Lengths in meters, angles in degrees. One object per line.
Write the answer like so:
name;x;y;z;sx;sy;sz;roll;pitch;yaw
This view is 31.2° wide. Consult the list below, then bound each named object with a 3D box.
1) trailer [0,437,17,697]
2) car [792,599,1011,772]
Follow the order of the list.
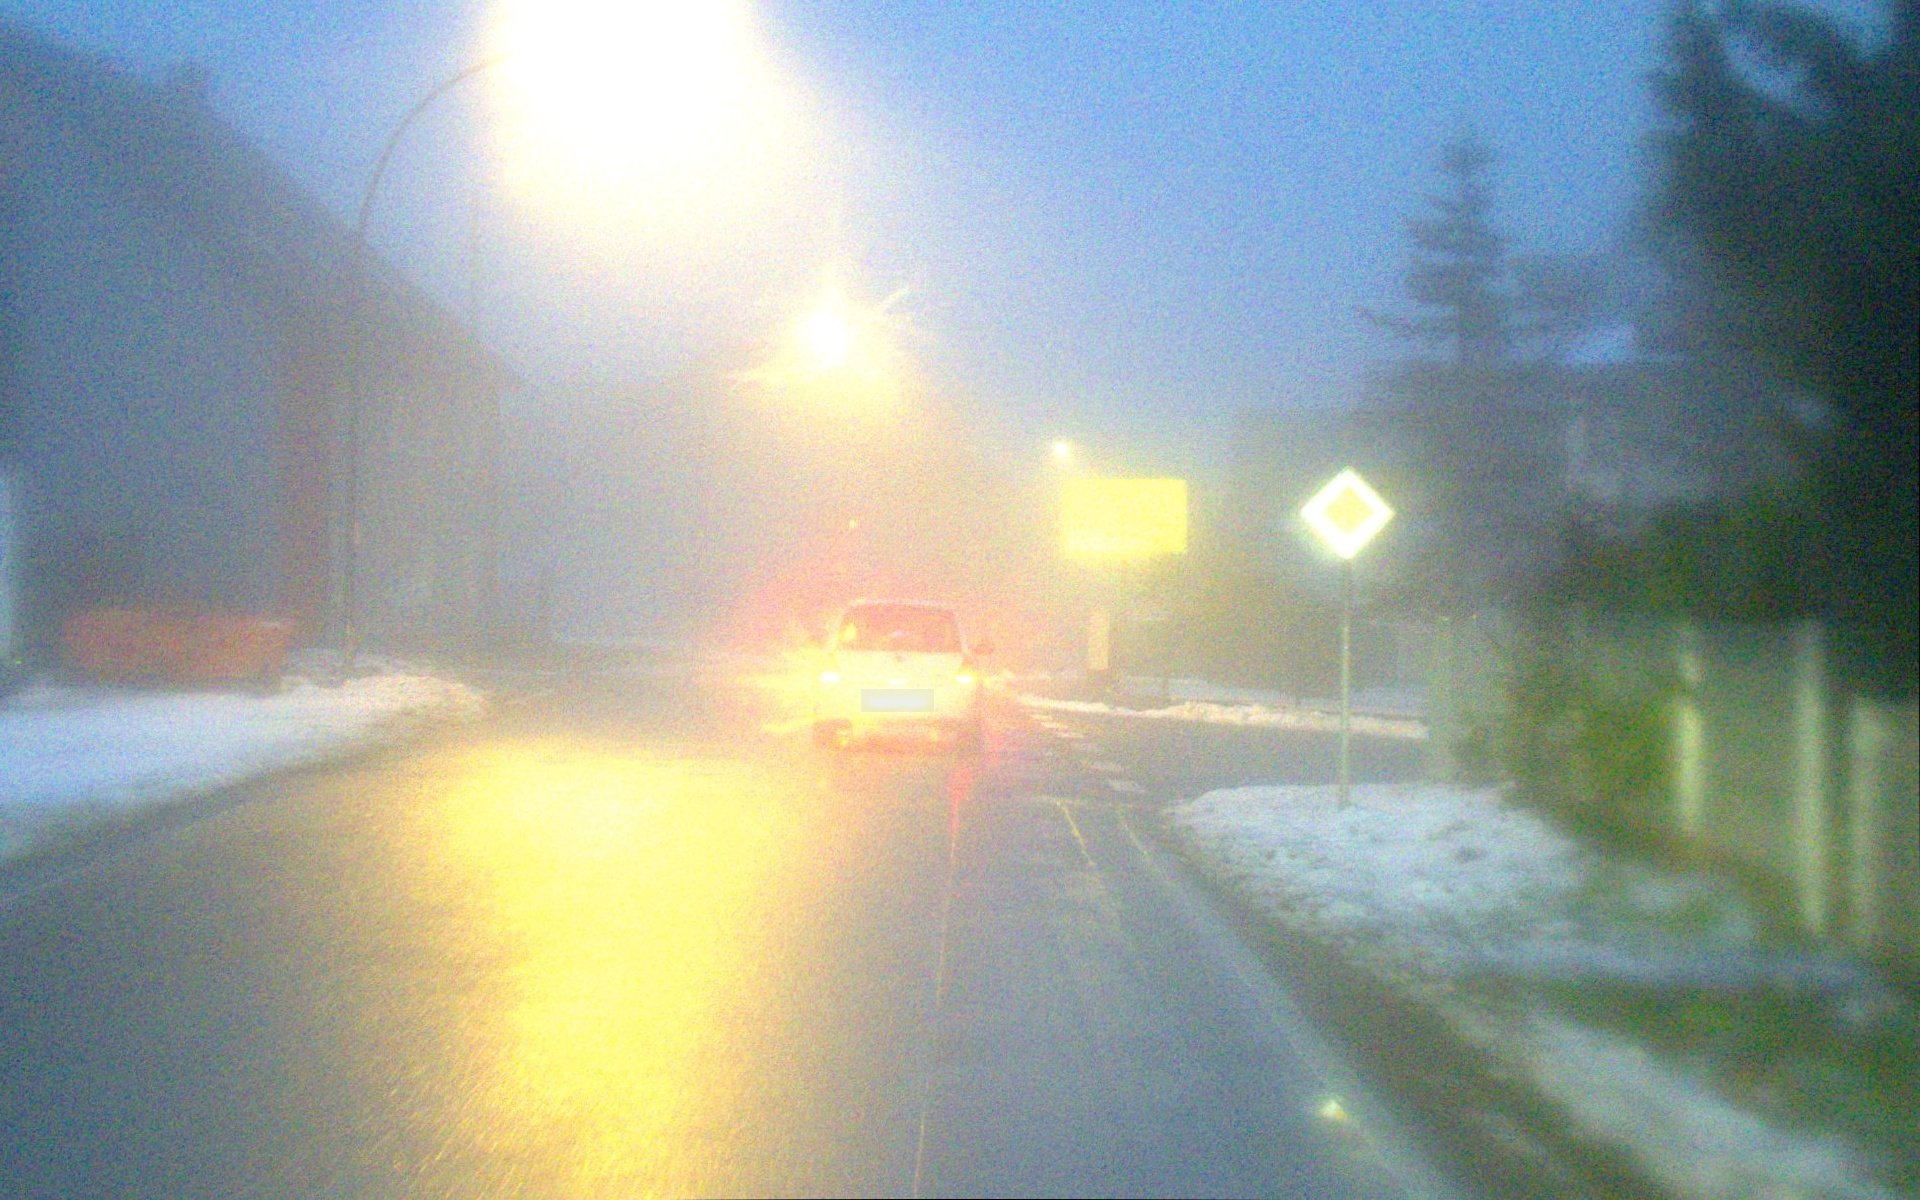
trailer;-10.855;-0.329;35.737;1.689;2.596;3.446;-1;1;-20
car;-0.530;0.791;33.737;1.993;1.503;4.000;-1;1;0
